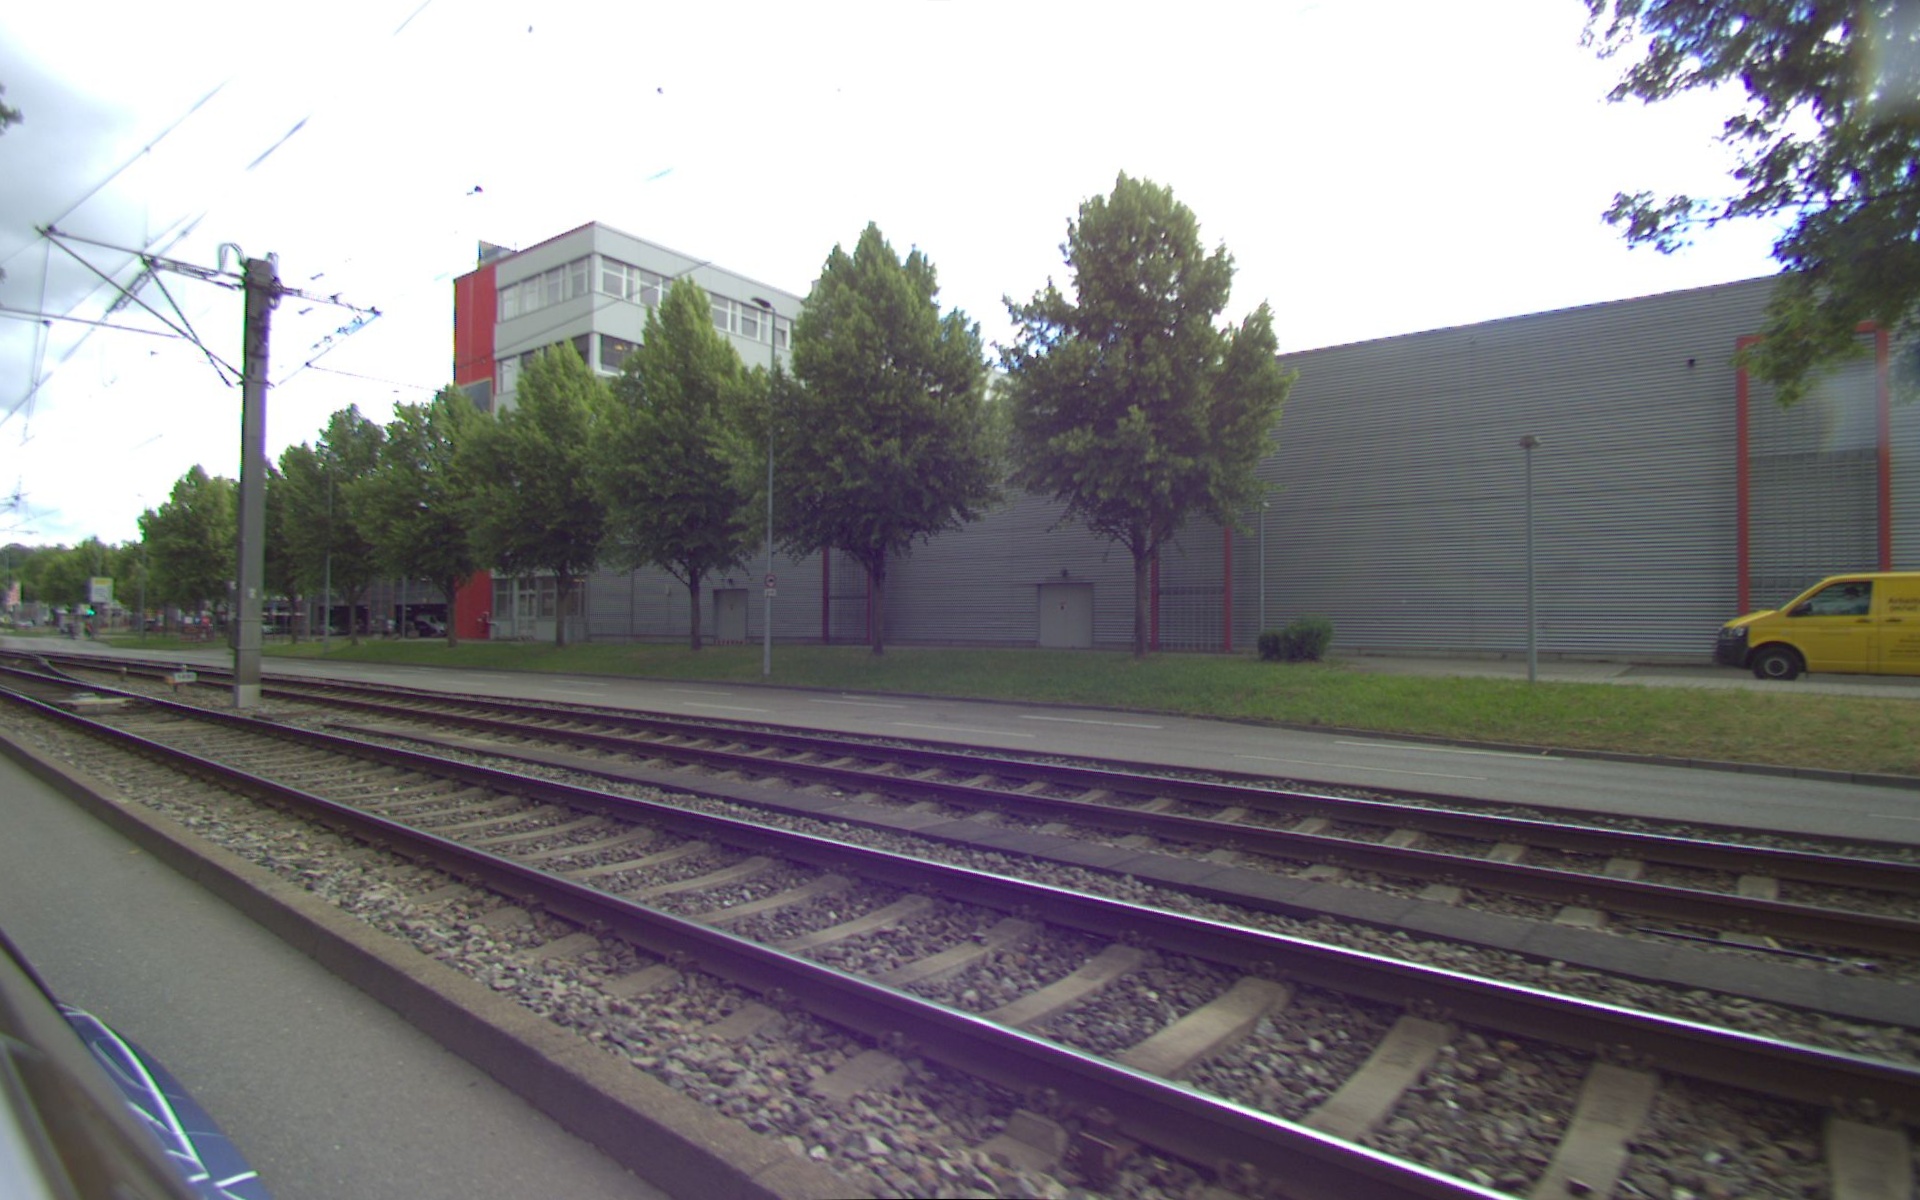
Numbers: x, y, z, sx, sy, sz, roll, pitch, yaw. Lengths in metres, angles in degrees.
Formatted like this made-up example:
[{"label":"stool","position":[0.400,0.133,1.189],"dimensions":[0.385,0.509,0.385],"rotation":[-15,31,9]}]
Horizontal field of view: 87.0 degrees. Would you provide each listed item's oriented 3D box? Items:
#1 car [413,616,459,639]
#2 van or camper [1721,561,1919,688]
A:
[{"label":"car","position":[-47.243,2.466,91.184],"dimensions":[4.399,2.029,1.975],"rotation":[-1,-2,38]},{"label":"van or camper","position":[16.025,0.411,16.937],"dimensions":[5.235,2.029,2.083],"rotation":[-1,-2,38]}]
